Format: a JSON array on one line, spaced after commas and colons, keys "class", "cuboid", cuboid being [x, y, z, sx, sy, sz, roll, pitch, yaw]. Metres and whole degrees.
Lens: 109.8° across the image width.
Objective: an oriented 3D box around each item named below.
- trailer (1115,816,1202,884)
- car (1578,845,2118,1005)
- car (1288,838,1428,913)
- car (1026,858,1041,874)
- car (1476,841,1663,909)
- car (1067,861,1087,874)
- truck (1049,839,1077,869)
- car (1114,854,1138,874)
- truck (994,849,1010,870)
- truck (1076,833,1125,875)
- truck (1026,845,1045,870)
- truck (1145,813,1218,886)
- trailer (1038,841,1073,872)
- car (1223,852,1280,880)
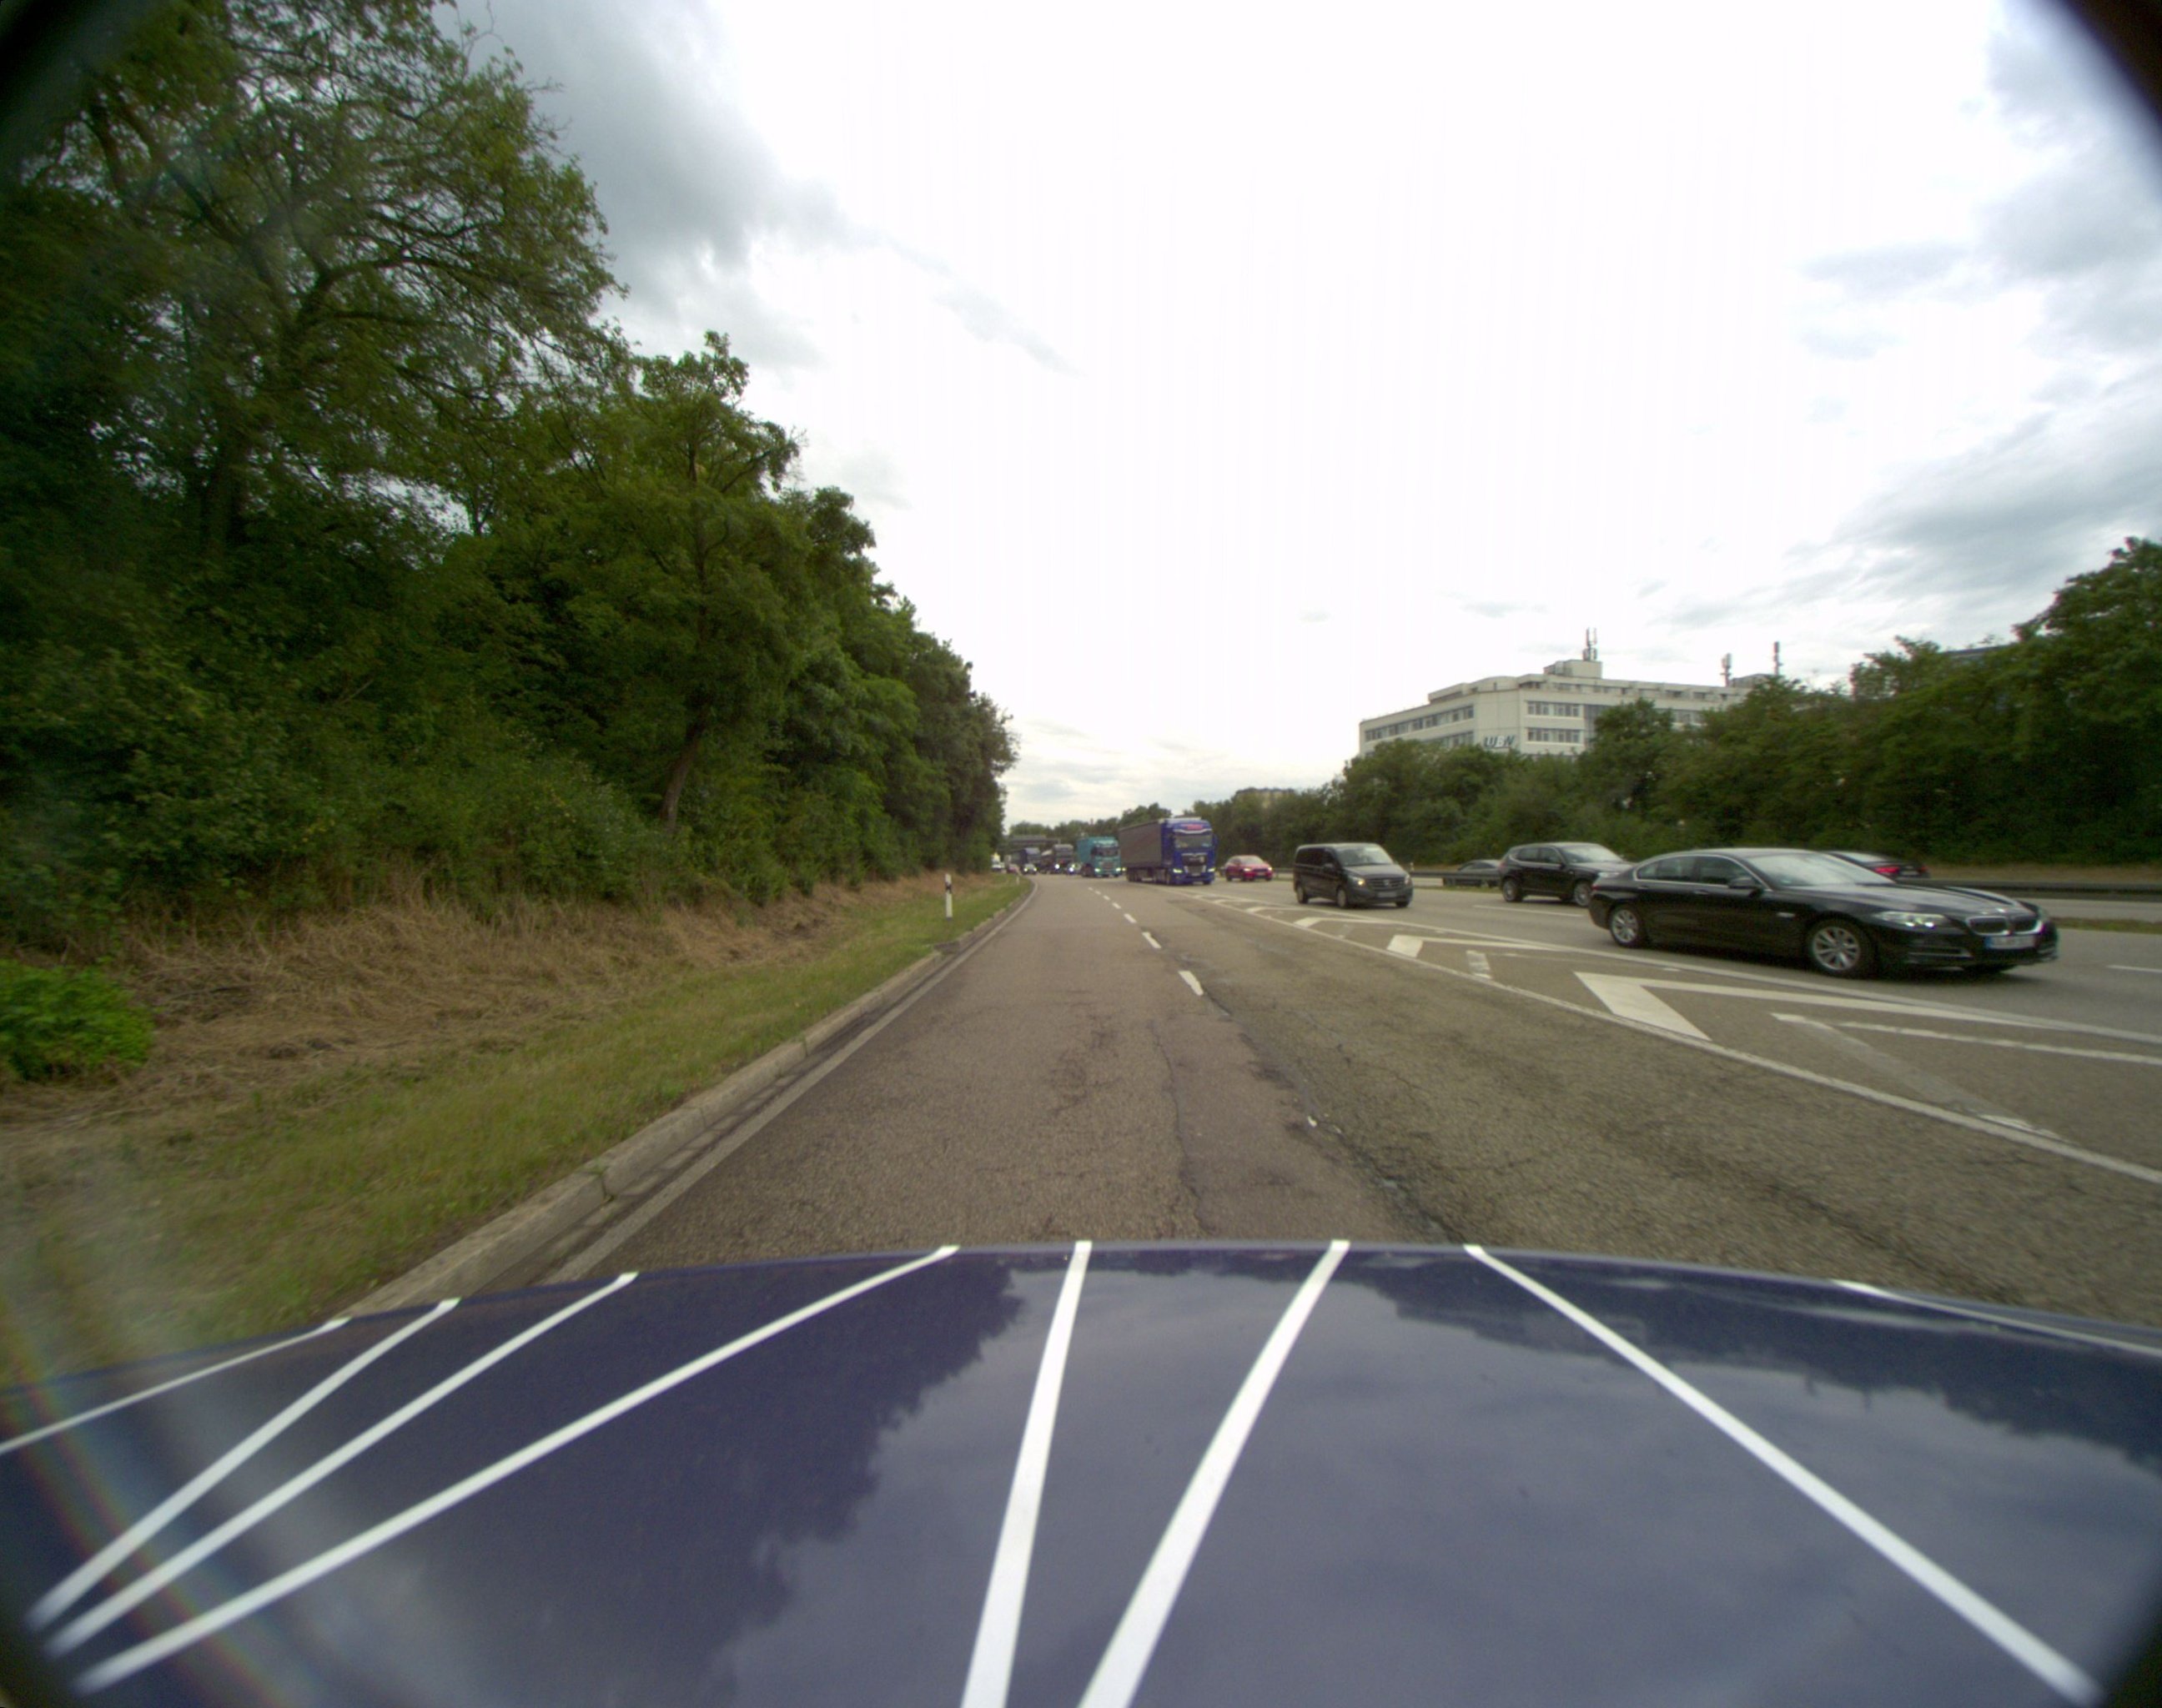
[{"class": "trailer", "cuboid": [4.996, -0.257, 52.705, 2.635, 3.999, 13.452, -3, 1, -8]}, {"class": "car", "cuboid": [9.025, 0.669, 9.758, 1.852, 1.451, 4.829, -3, 1, -4]}, {"class": "car", "cuboid": [8.041, 0.595, 22.702, 1.999, 1.894, 5.078, -3, 0, -3]}, {"class": "car", "cuboid": [-6.335, 1.599, 101.123, 1.765, 2.002, 3.998, -2, 0, -7]}, {"class": "car", "cuboid": [13.053, 0.517, 20.737, 1.866, 1.604, 4.649, -1, 0, -4]}, {"class": "car", "cuboid": [-0.456, 1.510, 87.865, 1.753, 1.413, 3.661, -2, 0, -9]}, {"class": "truck", "cuboid": [-2.442, 0.039, 101.383, 2.692, 3.884, 6.929, -1, 0, -10]}, {"class": "car", "cuboid": [4.840, 1.059, 81.354, 1.674, 2.002, 3.997, -2, 0, -9]}, {"class": "truck", "cuboid": [-15.301, 1.011, 146.159, 2.256, 3.949, 6.622, -2, 0, -12]}, {"class": "truck", "cuboid": [1.771, 0.025, 75.695, 2.939, 3.774, 11.322, -1, 0, -9]}, {"class": "truck", "cuboid": [-7.458, 0.539, 124.372, 2.547, 3.949, 6.470, -2, 0, -8]}, {"class": "truck", "cuboid": [5.953, -0.254, 46.057, 2.569, 4.019, 6.584, -3, 1, -8]}, {"class": "trailer", "cuboid": [-3.740, 0.423, 108.345, 2.847, 4.012, 13.074, -2, 0, -11]}, {"class": "car", "cuboid": [10.615, 0.748, 47.698, 1.999, 1.609, 4.785, -2, 0, -6]}]
